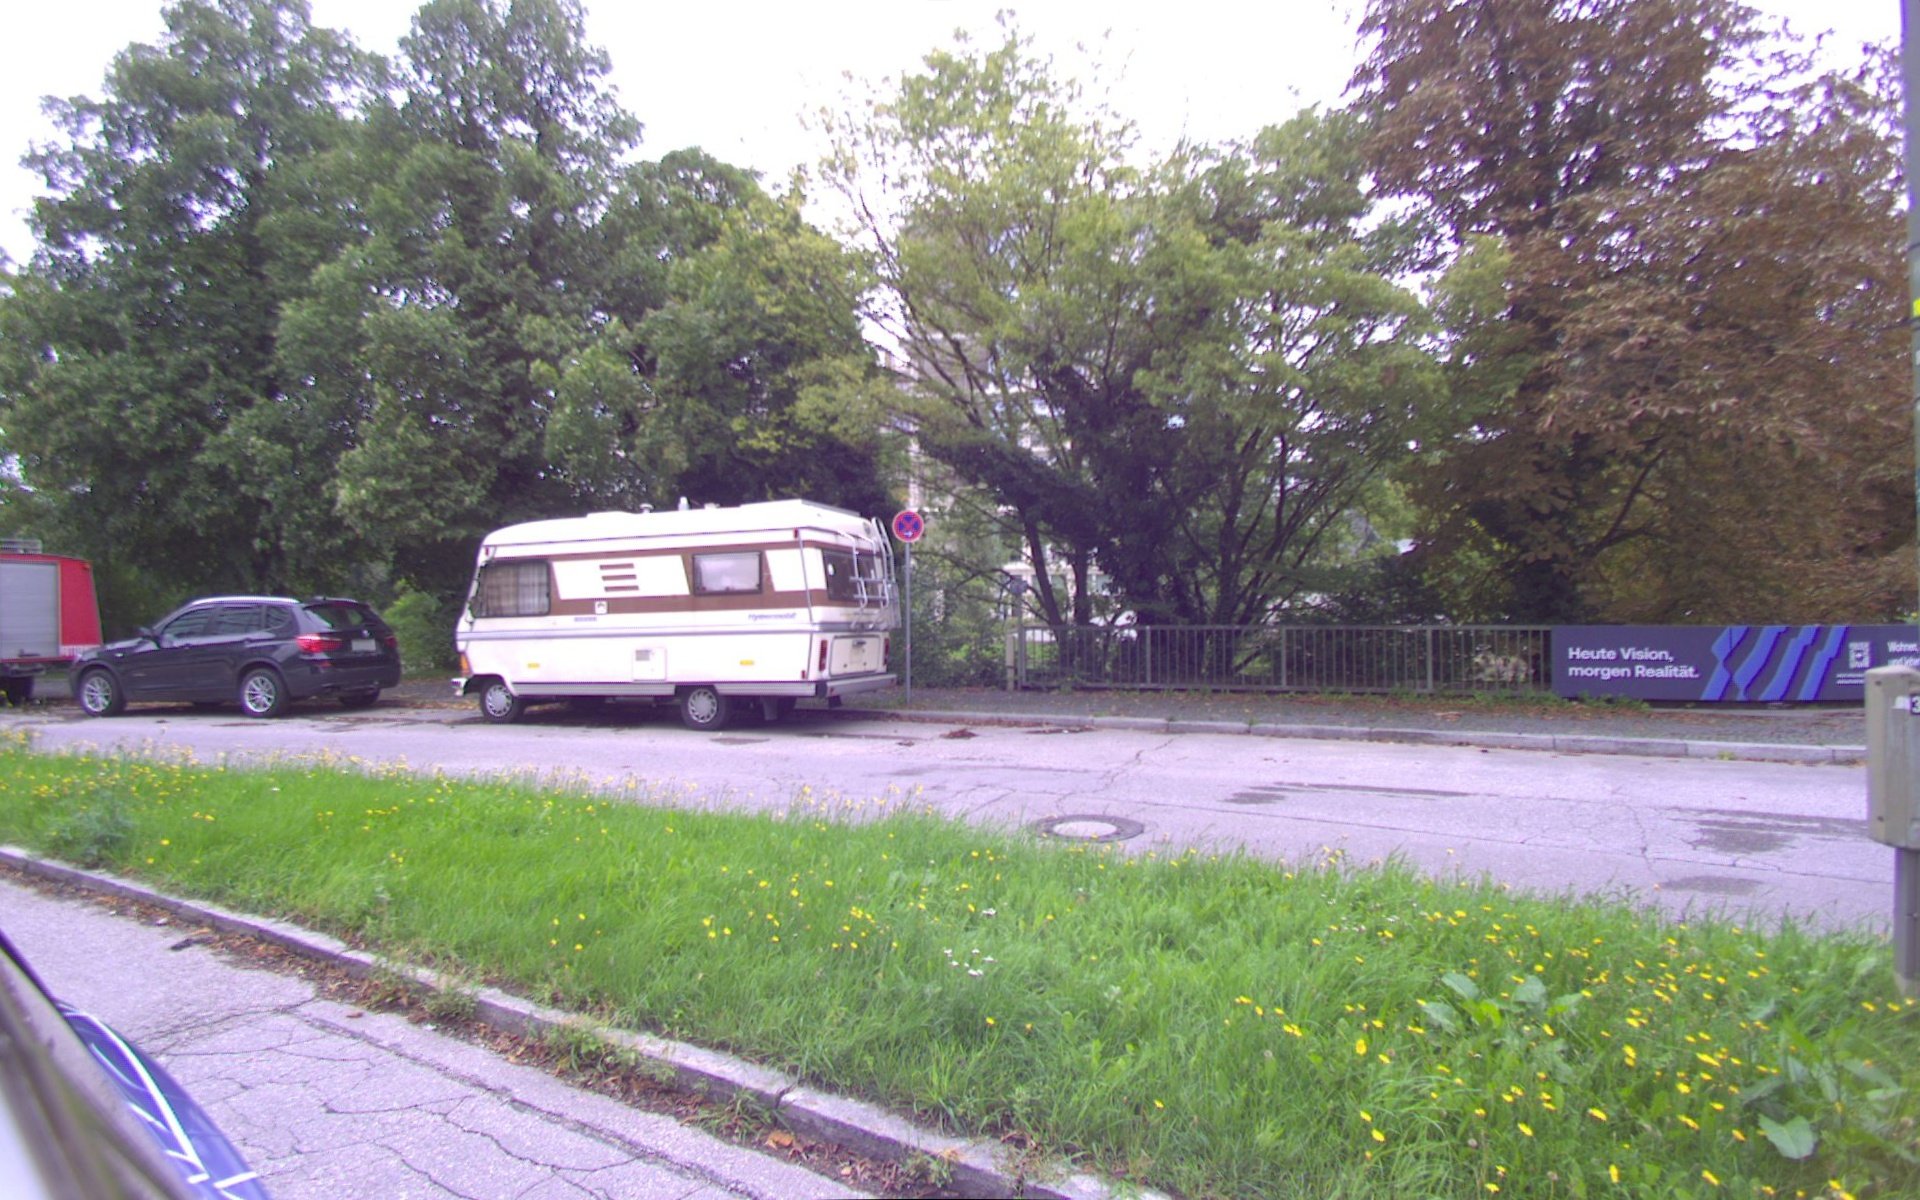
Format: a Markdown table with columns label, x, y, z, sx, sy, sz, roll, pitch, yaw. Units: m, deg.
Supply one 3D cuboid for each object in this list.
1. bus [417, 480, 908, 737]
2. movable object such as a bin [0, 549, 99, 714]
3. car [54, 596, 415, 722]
| label | x | y | z | sx | sy | sz | roll | pitch | yaw |
| --- | --- | --- | --- | --- | --- | --- | --- | --- | --- |
| bus | -3.718 | 0.150 | 12.757 | 5.690 | 2.719 | 2.308 | -1 | -2 | 20 |
| movable object such as a bin | -17.307 | 0.512 | 16.272 | 6.126 | 2.477 | 2.102 | -1 | -2 | 14 |
| car | -10.483 | 0.821 | 14.729 | 4.413 | 1.662 | 1.775 | -1 | -2 | 12 |
